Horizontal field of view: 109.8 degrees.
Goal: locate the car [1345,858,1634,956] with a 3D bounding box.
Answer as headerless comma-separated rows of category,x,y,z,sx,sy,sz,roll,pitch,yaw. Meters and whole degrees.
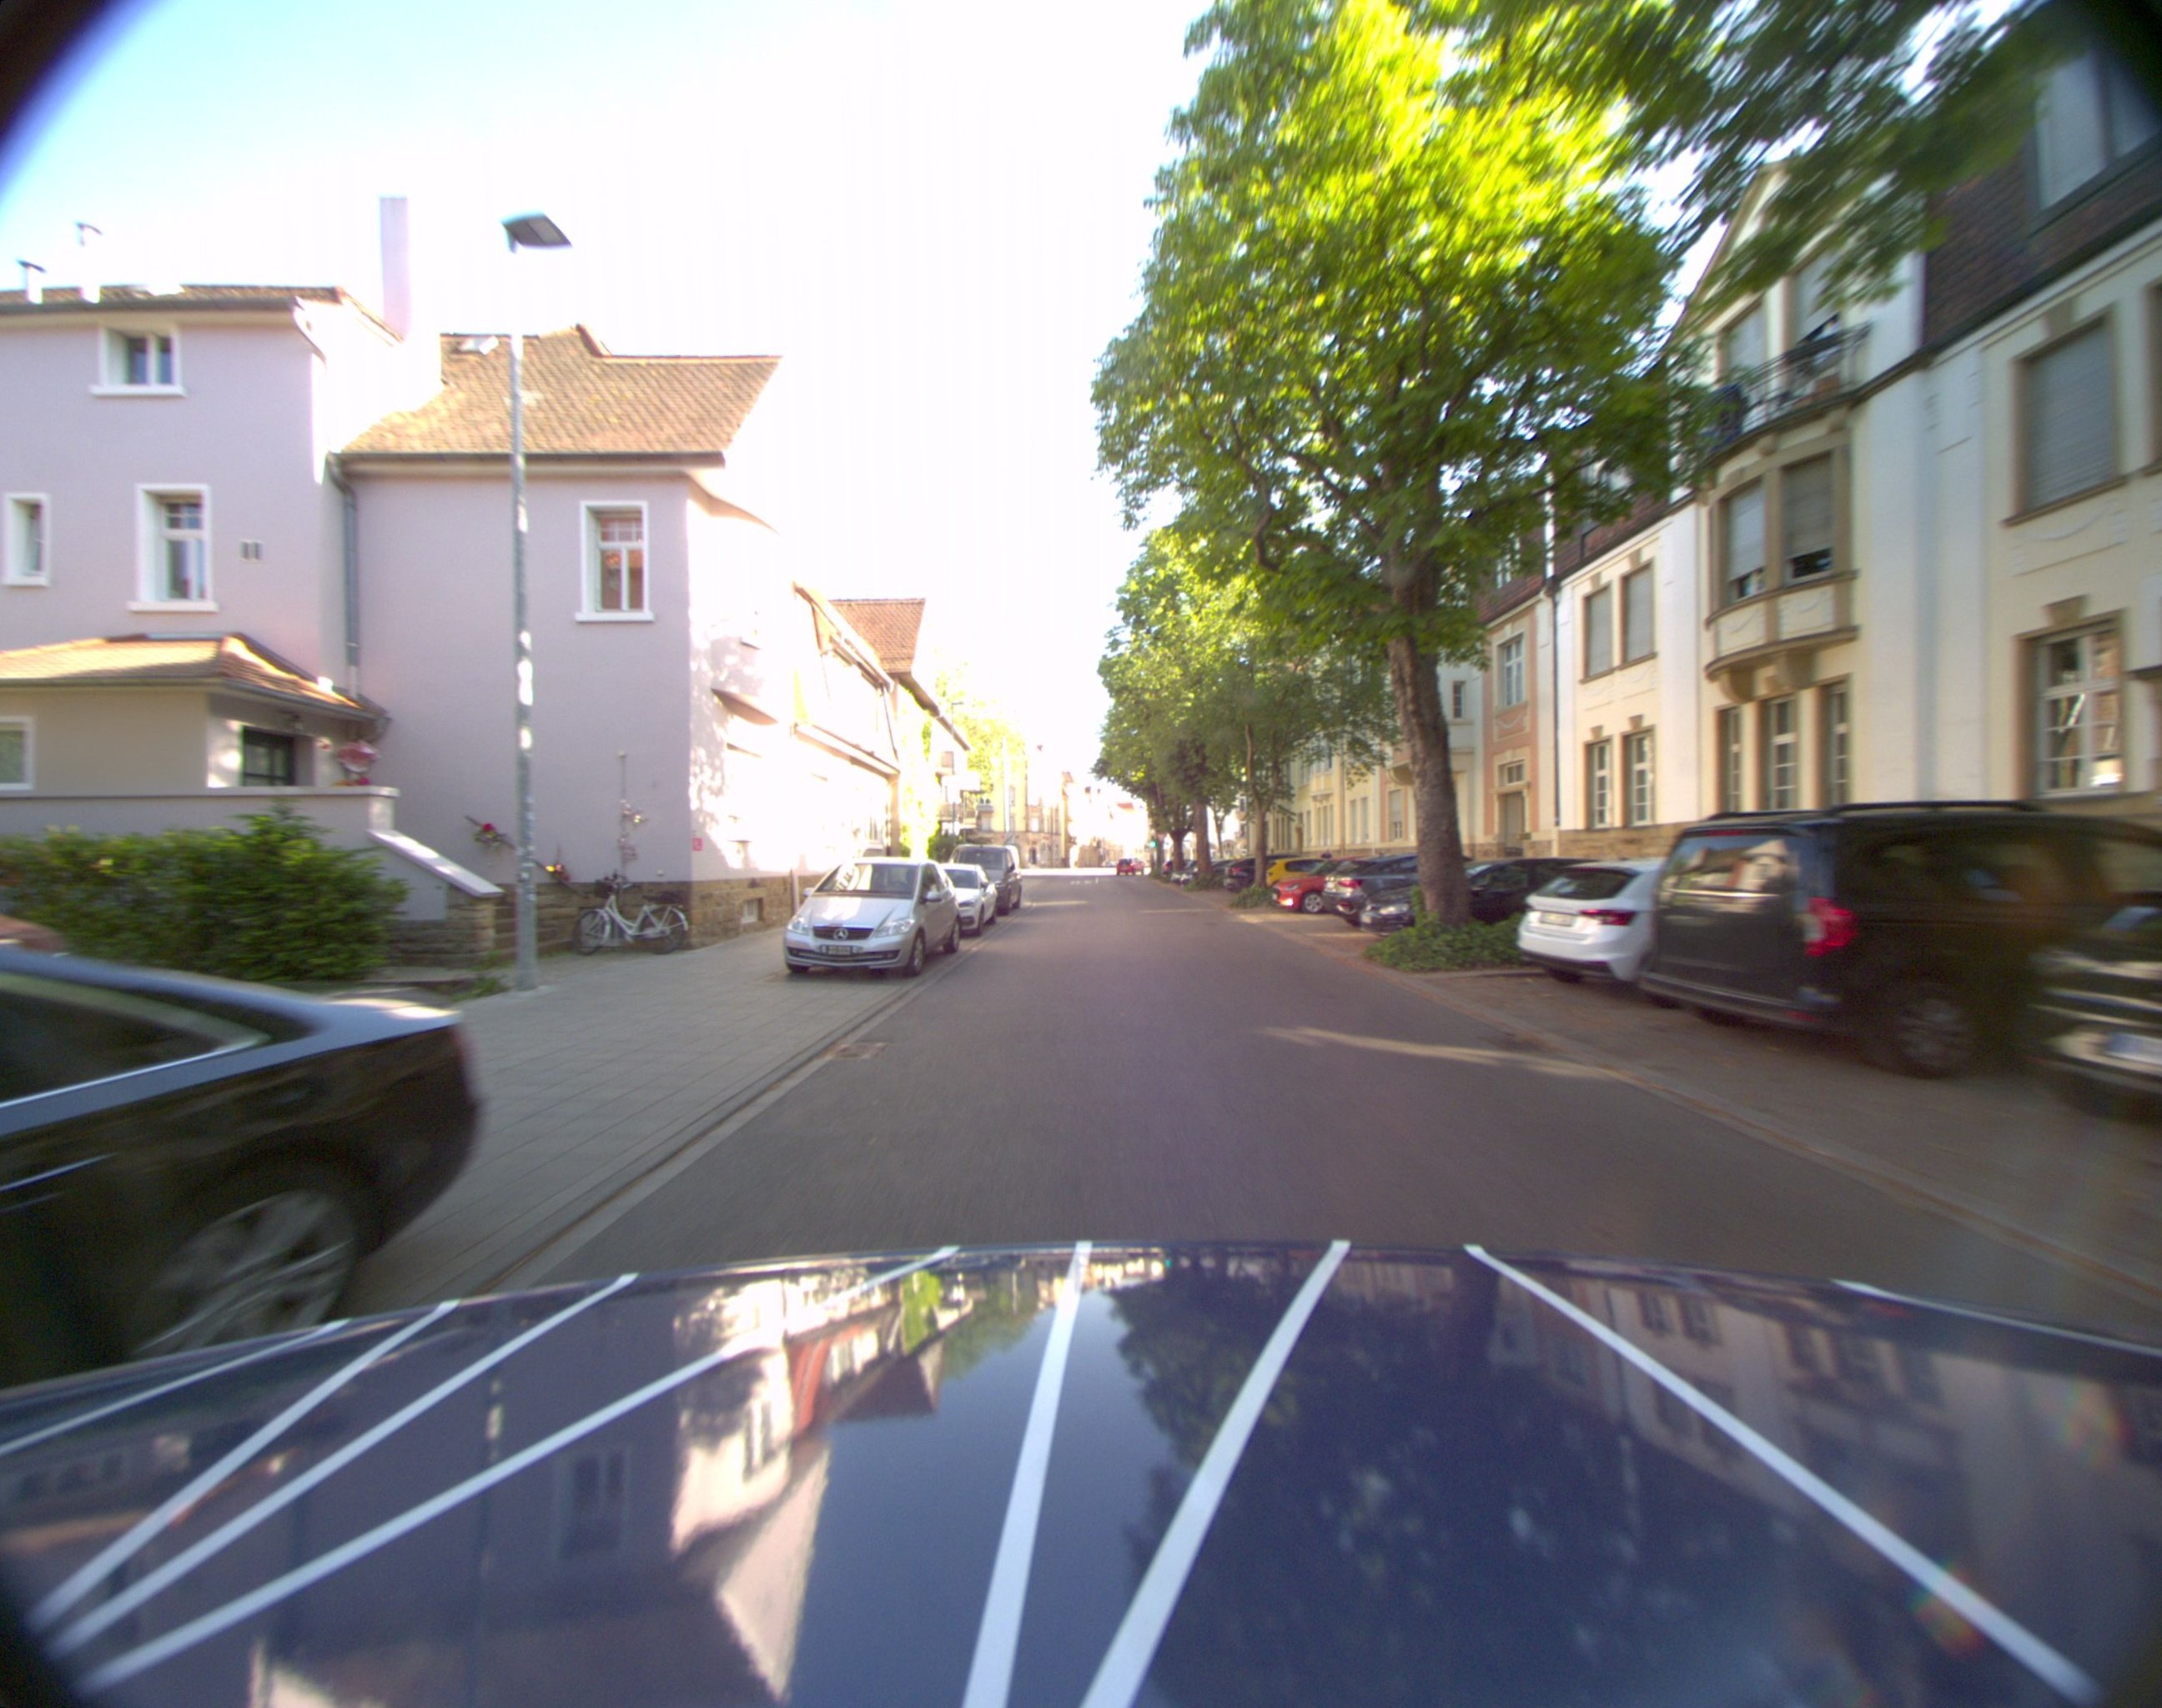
car,6.758,0.860,12.972,3.910,1.438,1.860,-2,0,6

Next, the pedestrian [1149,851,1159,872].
pedestrian,5.776,0.601,60.326,0.695,1.672,0.681,-1,1,12

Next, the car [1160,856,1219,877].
car,7.460,0.854,52.574,3.892,1.467,1.615,0,1,1

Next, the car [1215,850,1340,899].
car,6.919,0.719,27.093,3.996,1.557,1.863,-2,1,3

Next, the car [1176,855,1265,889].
car,6.747,0.857,37.021,3.996,1.474,1.785,-2,1,3

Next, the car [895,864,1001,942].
car,-2.818,0.988,16.974,1.683,1.449,4.438,0,0,-1

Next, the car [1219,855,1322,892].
car,7.967,0.802,32.193,3.996,1.499,1.722,0,1,2

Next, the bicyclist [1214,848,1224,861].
bicyclist,16.497,0.058,90.918,1.074,1.533,0.687,-1,1,0

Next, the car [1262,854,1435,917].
car,7.067,0.807,20.359,3.997,1.506,1.747,-1,1,1

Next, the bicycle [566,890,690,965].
bicycle,-6.967,1.117,11.715,1.640,1.094,0.395,-1,1,-1

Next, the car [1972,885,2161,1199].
car,7.095,0.878,3.461,3.990,1.429,1.828,-1,1,-1

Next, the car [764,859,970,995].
car,-2.963,0.919,11.464,1.793,1.591,4.000,2,0,2

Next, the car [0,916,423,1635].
car,-3.367,0.979,0.436,1.859,1.484,4.608,1,0,2

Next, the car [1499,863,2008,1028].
car,6.937,0.874,8.129,3.998,1.439,1.741,-1,1,-3

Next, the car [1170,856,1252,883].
car,7.099,0.849,41.756,4.222,1.341,1.703,-1,1,1

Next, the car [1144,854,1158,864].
car,13.005,0.891,140.366,1.915,1.649,4.351,-4,-1,14

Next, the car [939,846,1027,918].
car,-2.802,0.743,22.829,1.869,1.905,4.782,1,0,2

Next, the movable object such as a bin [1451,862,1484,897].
movable object such as a bin,11.689,0.777,22.992,0.689,1.029,0.614,-1,1,1

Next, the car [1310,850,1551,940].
car,6.953,0.783,15.441,3.997,1.583,1.859,-2,0,1

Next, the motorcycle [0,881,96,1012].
motorcycle,-11.887,1.084,7.810,0.789,1.274,2.163,-3,7,-11

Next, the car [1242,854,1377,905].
car,7.308,0.799,24.581,3.799,1.453,1.863,-2,1,3

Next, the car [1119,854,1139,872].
car,4.241,0.751,66.486,1.644,1.499,3.704,0,0,5

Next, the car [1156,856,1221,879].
car,6.959,0.866,49.287,3.894,1.407,1.614,-1,0,-5

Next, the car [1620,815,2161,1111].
car,6.727,0.673,5.749,3.989,1.845,1.829,-1,1,0

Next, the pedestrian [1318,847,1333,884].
pedestrian,10.807,0.502,33.613,0.460,1.648,0.895,-1,1,9

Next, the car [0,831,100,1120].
car,-8.936,0.775,4.422,4.149,1.832,1.765,0,1,1

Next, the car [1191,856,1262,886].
car,7.564,0.870,39.663,3.441,1.444,1.703,-1,1,3
